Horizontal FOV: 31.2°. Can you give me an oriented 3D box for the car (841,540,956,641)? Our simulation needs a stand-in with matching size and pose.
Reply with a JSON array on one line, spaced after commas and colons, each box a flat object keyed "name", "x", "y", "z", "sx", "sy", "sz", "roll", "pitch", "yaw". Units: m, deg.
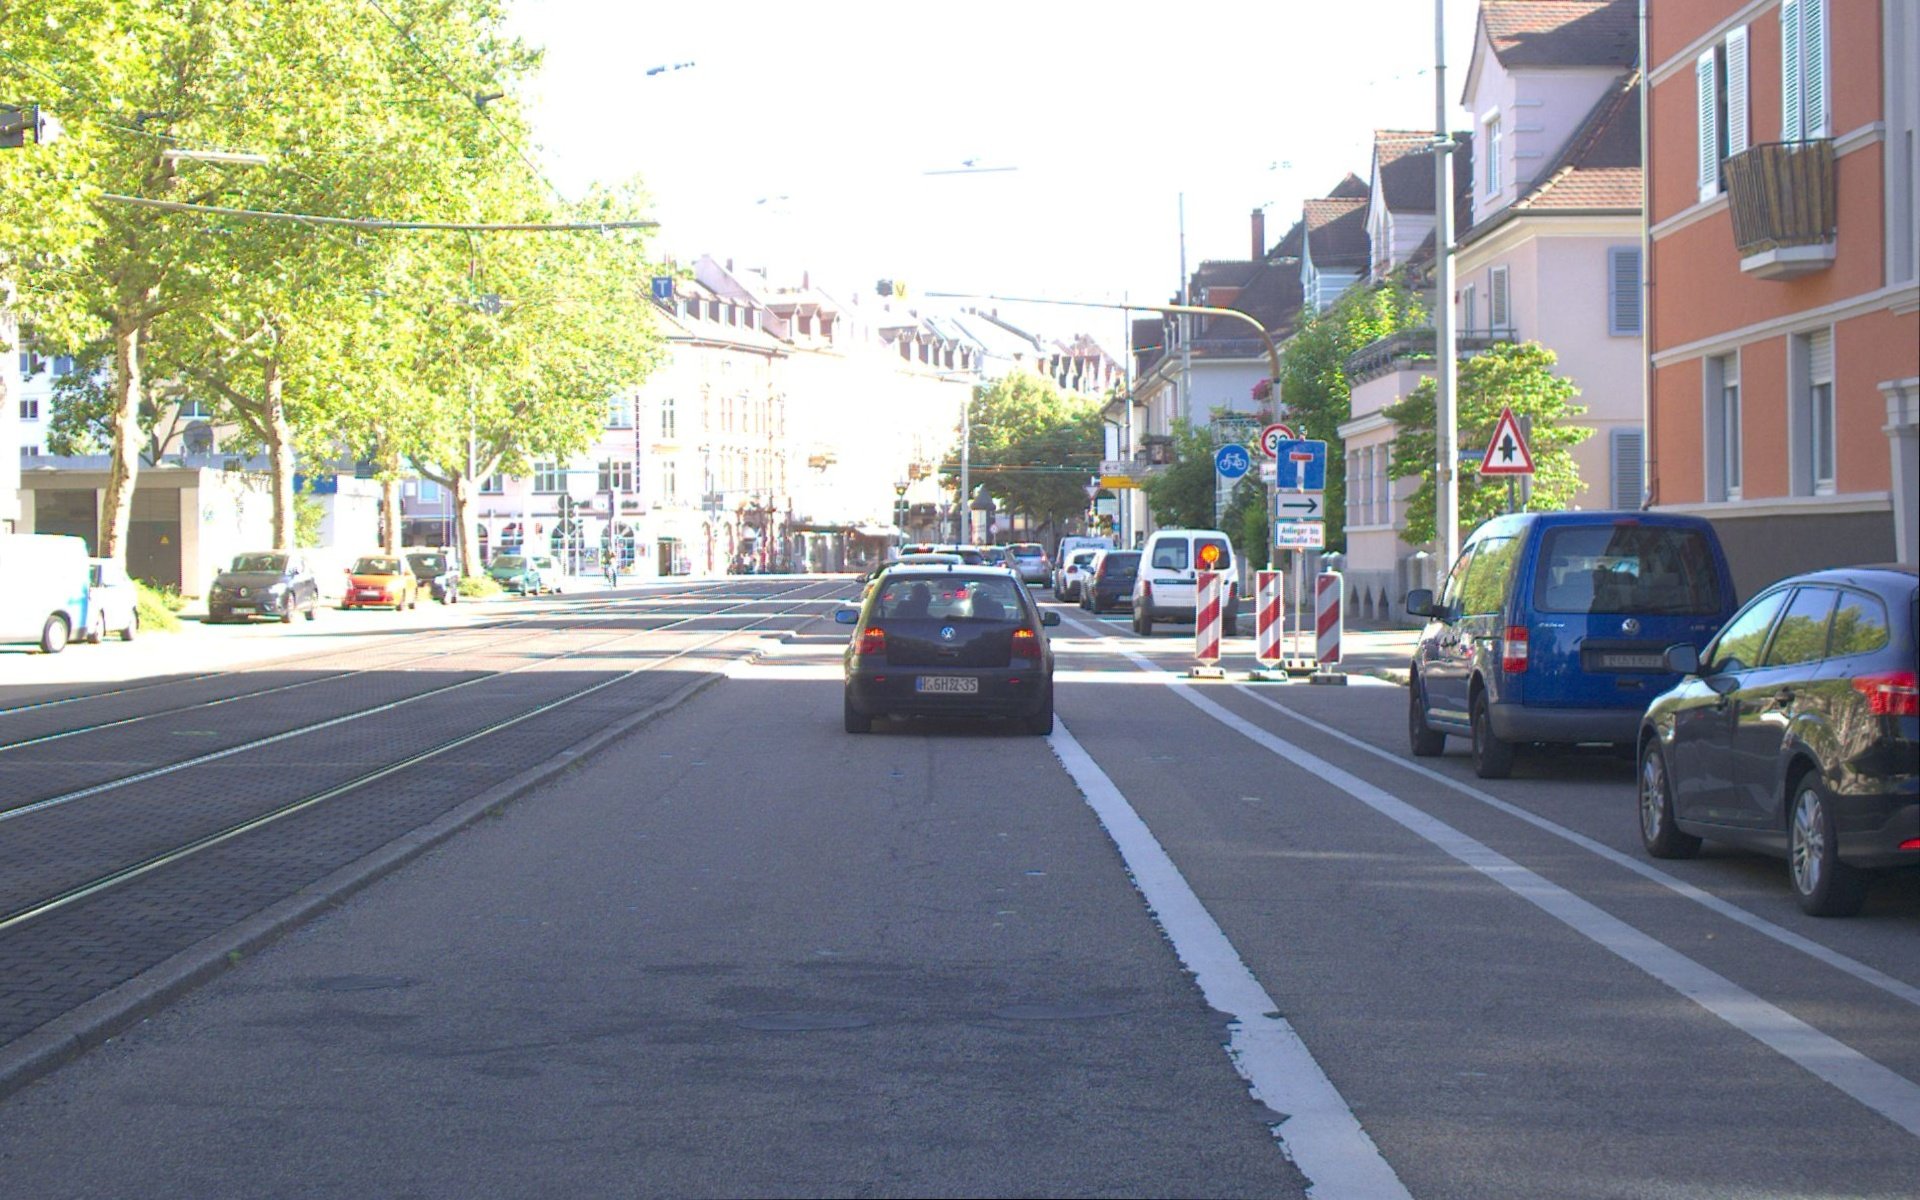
[{"name": "car", "x": -0.960, "y": -0.178, "z": 55.489, "sx": 1.748, "sy": 1.532, "sz": 3.892, "roll": 0, "pitch": 1, "yaw": 0}]

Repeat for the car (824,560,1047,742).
[{"name": "car", "x": -0.246, "y": 0.381, "z": 29.121, "sx": 1.748, "sy": 1.370, "sz": 4.001, "roll": 0, "pitch": 1, "yaw": -2}]

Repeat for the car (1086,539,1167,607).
[{"name": "car", "x": 3.813, "y": -0.633, "z": 79.303, "sx": 1.661, "sy": 1.520, "sz": 4.036, "roll": 0, "pitch": 1, "yaw": 0}]

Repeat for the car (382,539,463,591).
[{"name": "car", "x": -16.235, "y": -1.084, "z": 104.013, "sx": 1.792, "sy": 1.460, "sz": 3.836, "roll": 3, "pitch": 1, "yaw": 0}]

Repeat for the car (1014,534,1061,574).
[{"name": "car", "x": 2.874, "y": -1.716, "z": 127.572, "sx": 1.636, "sy": 1.467, "sz": 3.729, "roll": 0, "pitch": 1, "yaw": 0}]

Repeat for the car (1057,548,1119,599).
[{"name": "car", "x": 3.582, "y": -0.759, "z": 97.011, "sx": 1.580, "sy": 1.370, "sz": 4.000, "roll": 0, "pitch": 1, "yaw": 0}]

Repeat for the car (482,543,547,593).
[{"name": "car", "x": -16.005, "y": -1.168, "z": 123.523, "sx": 1.883, "sy": 1.663, "sz": 3.805, "roll": 2, "pitch": 1, "yaw": -1}]

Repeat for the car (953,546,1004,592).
[{"name": "car", "x": 0.611, "y": -1.034, "z": 113.485, "sx": 1.636, "sy": 1.467, "sz": 3.729, "roll": 0, "pitch": 1, "yaw": 0}]

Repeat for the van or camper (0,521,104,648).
[{"name": "van or camper", "x": -15.799, "y": -0.266, "z": 53.882, "sx": 2.062, "sy": 1.943, "sz": 5.184, "roll": 2, "pitch": 1, "yaw": 20}]

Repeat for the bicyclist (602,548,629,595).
[{"name": "bicyclist", "x": -13.525, "y": -1.126, "z": 135.042, "sx": 0.914, "sy": 1.827, "sz": 0.960, "roll": 2, "pitch": 1, "yaw": 0}]

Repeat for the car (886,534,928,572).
[{"name": "car", "x": -2.185, "y": -1.958, "z": 141.950, "sx": 1.636, "sy": 1.467, "sz": 3.729, "roll": -2, "pitch": 1, "yaw": 0}]

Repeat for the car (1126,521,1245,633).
[{"name": "car", "x": 3.880, "y": -0.422, "z": 59.542, "sx": 1.759, "sy": 1.831, "sz": 3.548, "roll": 2, "pitch": 1, "yaw": 0}]

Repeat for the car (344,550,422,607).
[{"name": "car", "x": -15.875, "y": -0.581, "z": 94.688, "sx": 1.570, "sy": 1.528, "sz": 3.572, "roll": 0, "pitch": 0, "yaw": 0}]

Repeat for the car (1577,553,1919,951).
[{"name": "car", "x": 4.249, "y": 0.579, "z": 15.745, "sx": 1.753, "sy": 1.506, "sz": 4.763, "roll": 1, "pitch": 1, "yaw": -3}]

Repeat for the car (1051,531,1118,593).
[{"name": "car", "x": 3.662, "y": -1.139, "z": 101.916, "sx": 1.817, "sy": 1.793, "sz": 4.000, "roll": 0, "pitch": 1, "yaw": 0}]

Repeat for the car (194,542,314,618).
[{"name": "car", "x": -15.970, "y": -0.468, "z": 77.934, "sx": 1.888, "sy": 1.660, "sz": 4.000, "roll": 0, "pitch": 1, "yaw": 0}]

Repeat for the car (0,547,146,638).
[{"name": "car", "x": -15.801, "y": -0.163, "z": 61.347, "sx": 1.574, "sy": 1.502, "sz": 4.090, "roll": 2, "pitch": 1, "yaw": 0}]

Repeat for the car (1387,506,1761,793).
[{"name": "car", "x": 4.212, "y": 0.276, "z": 24.227, "sx": 1.702, "sy": 1.804, "sz": 4.272, "roll": 1, "pitch": 1, "yaw": -2}]

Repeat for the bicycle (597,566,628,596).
[{"name": "bicycle", "x": -13.662, "y": -0.763, "z": 135.251, "sx": 0.914, "sy": 1.079, "sz": 3.203, "roll": 2, "pitch": 1, "yaw": 0}]

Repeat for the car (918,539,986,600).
[{"name": "car", "x": -0.201, "y": -0.767, "z": 84.529, "sx": 1.636, "sy": 1.467, "sz": 3.729, "roll": 0, "pitch": 1, "yaw": 0}]
